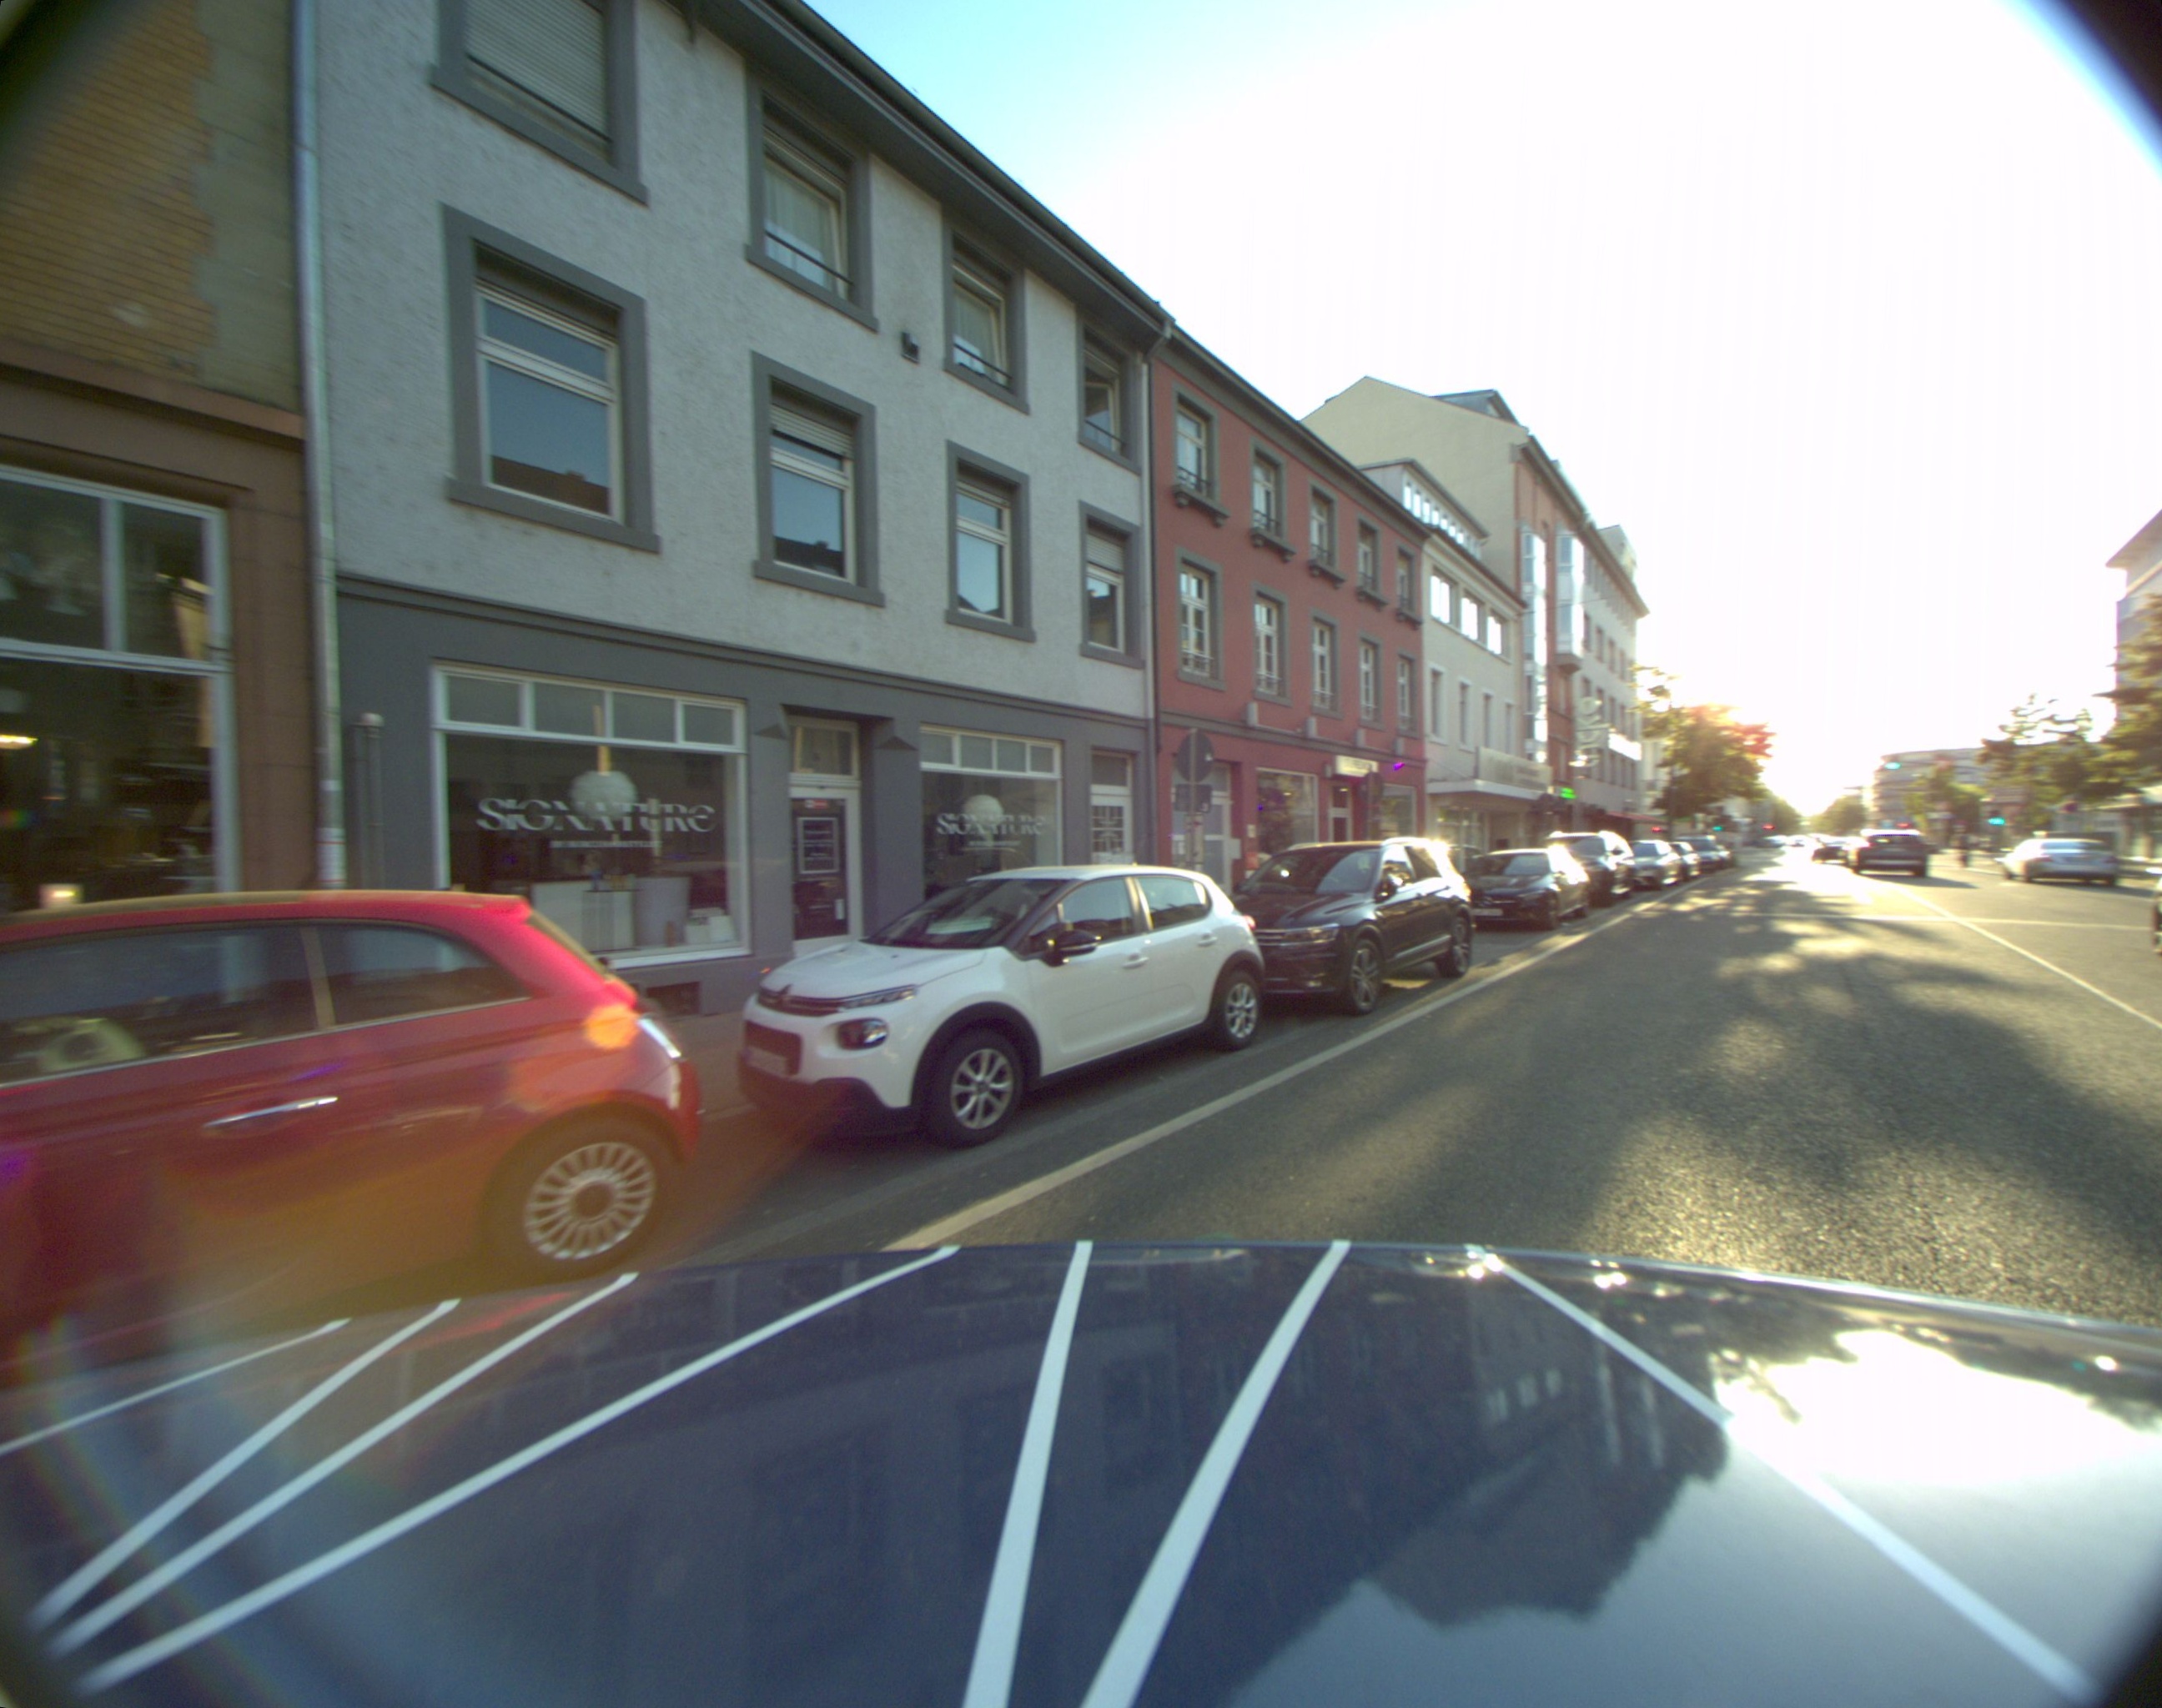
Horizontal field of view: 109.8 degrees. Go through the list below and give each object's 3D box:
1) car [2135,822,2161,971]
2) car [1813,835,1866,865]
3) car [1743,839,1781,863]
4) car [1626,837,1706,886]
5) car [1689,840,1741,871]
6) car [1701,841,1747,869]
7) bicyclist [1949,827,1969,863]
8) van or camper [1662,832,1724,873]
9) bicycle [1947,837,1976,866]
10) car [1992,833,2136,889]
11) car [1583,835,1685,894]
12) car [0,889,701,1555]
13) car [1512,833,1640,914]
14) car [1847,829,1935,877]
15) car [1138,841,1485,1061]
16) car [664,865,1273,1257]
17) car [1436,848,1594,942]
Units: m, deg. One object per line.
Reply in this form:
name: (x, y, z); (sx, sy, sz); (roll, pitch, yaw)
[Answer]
car: (12.242, 0.537, 7.223); (4.330, 1.688, 1.873); (-2, 3, -45)
car: (45.153, -0.298, 45.297); (1.838, 1.639, 4.309); (3, 3, 41)
car: (45.356, -0.191, 50.581); (1.690, 1.494, 3.794); (1, 2, 45)
car: (21.946, 0.232, 28.451); (1.994, 1.646, 4.489); (0, 2, 42)
car: (32.533, 0.036, 38.959); (1.690, 1.494, 3.794); (1, 2, 45)
car: (36.385, 0.016, 42.971); (1.690, 1.494, 3.794); (1, 2, 45)
bicyclist: (39.691, -0.412, 34.335); (0.804, 1.571, 0.547); (-2, 2, -44)
van or camper: (28.487, -0.105, 35.320); (1.788, 1.764, 4.567); (1, 2, 45)
bicycle: (39.639, -0.122, 34.223); (2.134, 1.236, 0.663); (-2, 4, -44)
car: (30.987, 0.130, 24.131); (1.994, 1.596, 4.413); (2, 2, 42)
car: (17.596, 0.287, 24.082); (1.994, 1.645, 4.637); (-1, 1, 44)
car: (-3.312, 0.993, 2.388); (1.526, 1.561, 3.428); (-2, 0, 45)
car: (12.801, 0.401, 19.462); (1.994, 1.767, 5.329); (-1, 1, 41)
car: (30.479, -0.096, 28.710); (1.838, 1.639, 4.309); (3, 3, 42)
car: (2.743, 0.774, 8.261); (1.795, 1.688, 4.469); (-2, 0, 42)
car: (-0.443, 0.941, 5.285); (1.662, 1.564, 3.942); (-2, 0, 44)
car: (8.555, 0.703, 14.791); (1.686, 1.479, 4.419); (-3, -1, 42)
